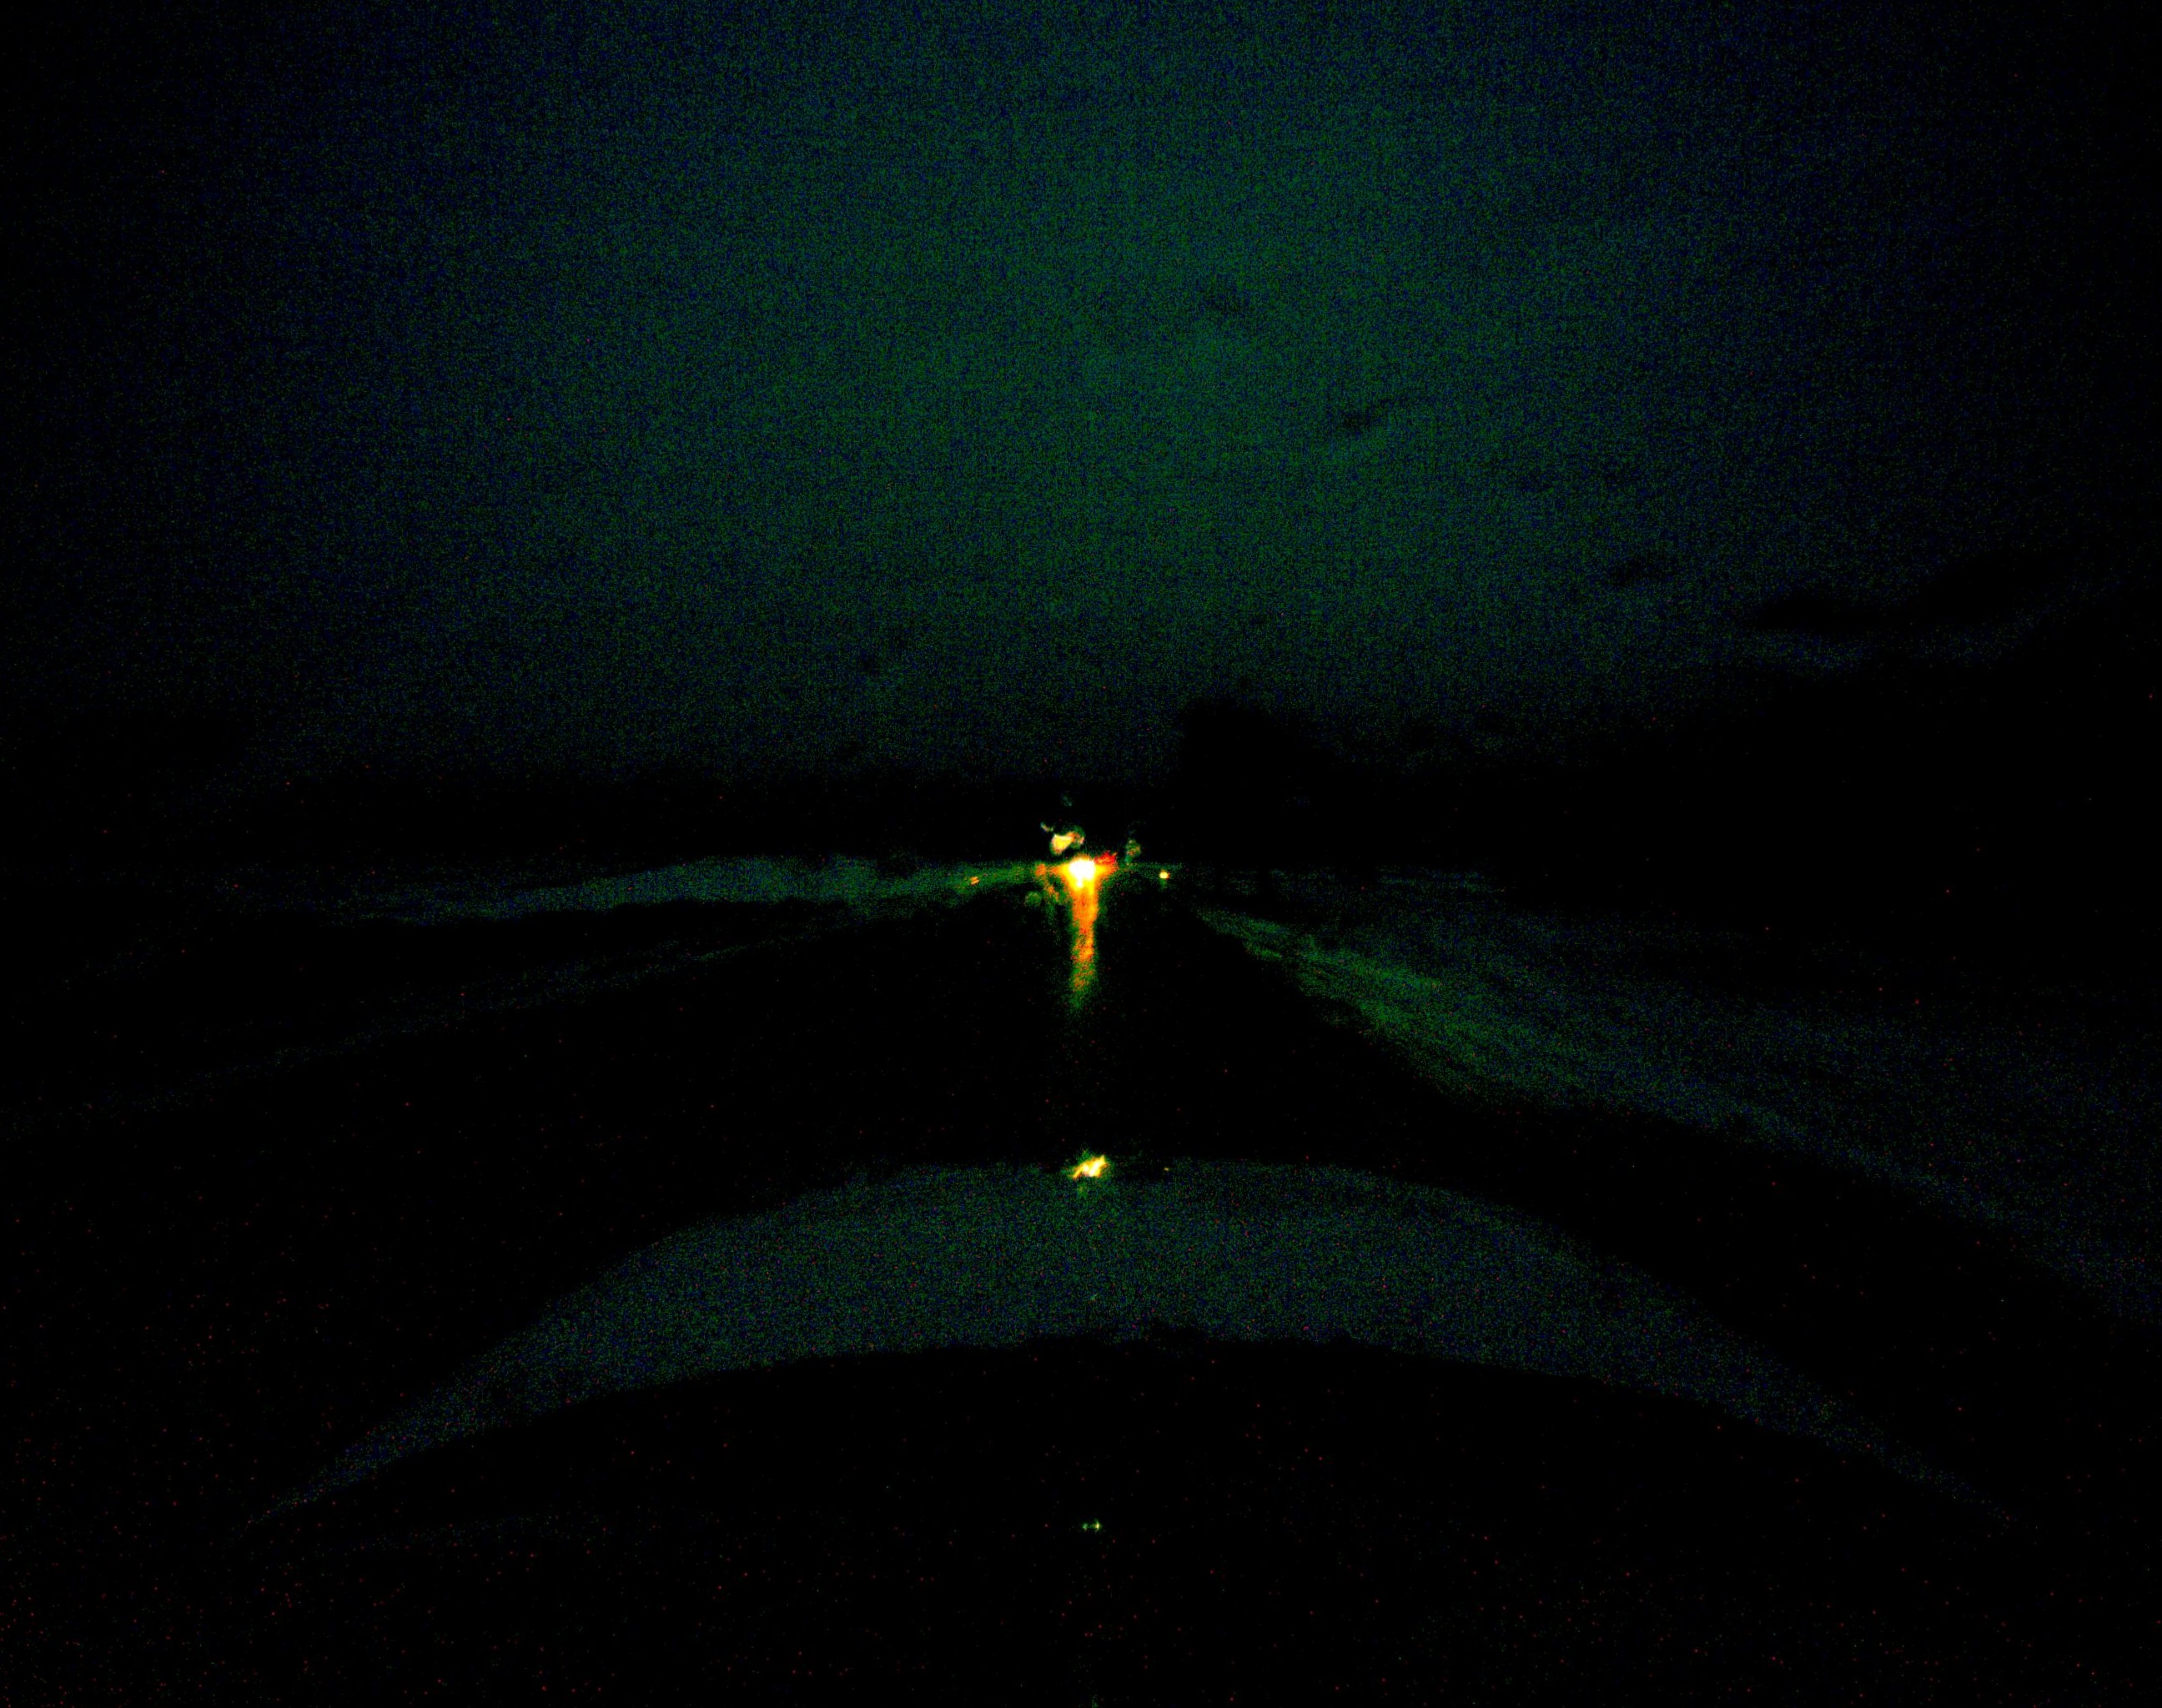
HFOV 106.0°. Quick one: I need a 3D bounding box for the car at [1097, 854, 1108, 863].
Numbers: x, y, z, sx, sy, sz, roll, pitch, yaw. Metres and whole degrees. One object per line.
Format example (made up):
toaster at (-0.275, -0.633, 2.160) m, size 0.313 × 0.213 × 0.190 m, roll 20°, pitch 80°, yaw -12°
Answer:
car at (4.065, 0.859, 152.414) m, size 1.683 × 1.552 × 3.863 m, roll 0°, pitch 1°, yaw 6°
